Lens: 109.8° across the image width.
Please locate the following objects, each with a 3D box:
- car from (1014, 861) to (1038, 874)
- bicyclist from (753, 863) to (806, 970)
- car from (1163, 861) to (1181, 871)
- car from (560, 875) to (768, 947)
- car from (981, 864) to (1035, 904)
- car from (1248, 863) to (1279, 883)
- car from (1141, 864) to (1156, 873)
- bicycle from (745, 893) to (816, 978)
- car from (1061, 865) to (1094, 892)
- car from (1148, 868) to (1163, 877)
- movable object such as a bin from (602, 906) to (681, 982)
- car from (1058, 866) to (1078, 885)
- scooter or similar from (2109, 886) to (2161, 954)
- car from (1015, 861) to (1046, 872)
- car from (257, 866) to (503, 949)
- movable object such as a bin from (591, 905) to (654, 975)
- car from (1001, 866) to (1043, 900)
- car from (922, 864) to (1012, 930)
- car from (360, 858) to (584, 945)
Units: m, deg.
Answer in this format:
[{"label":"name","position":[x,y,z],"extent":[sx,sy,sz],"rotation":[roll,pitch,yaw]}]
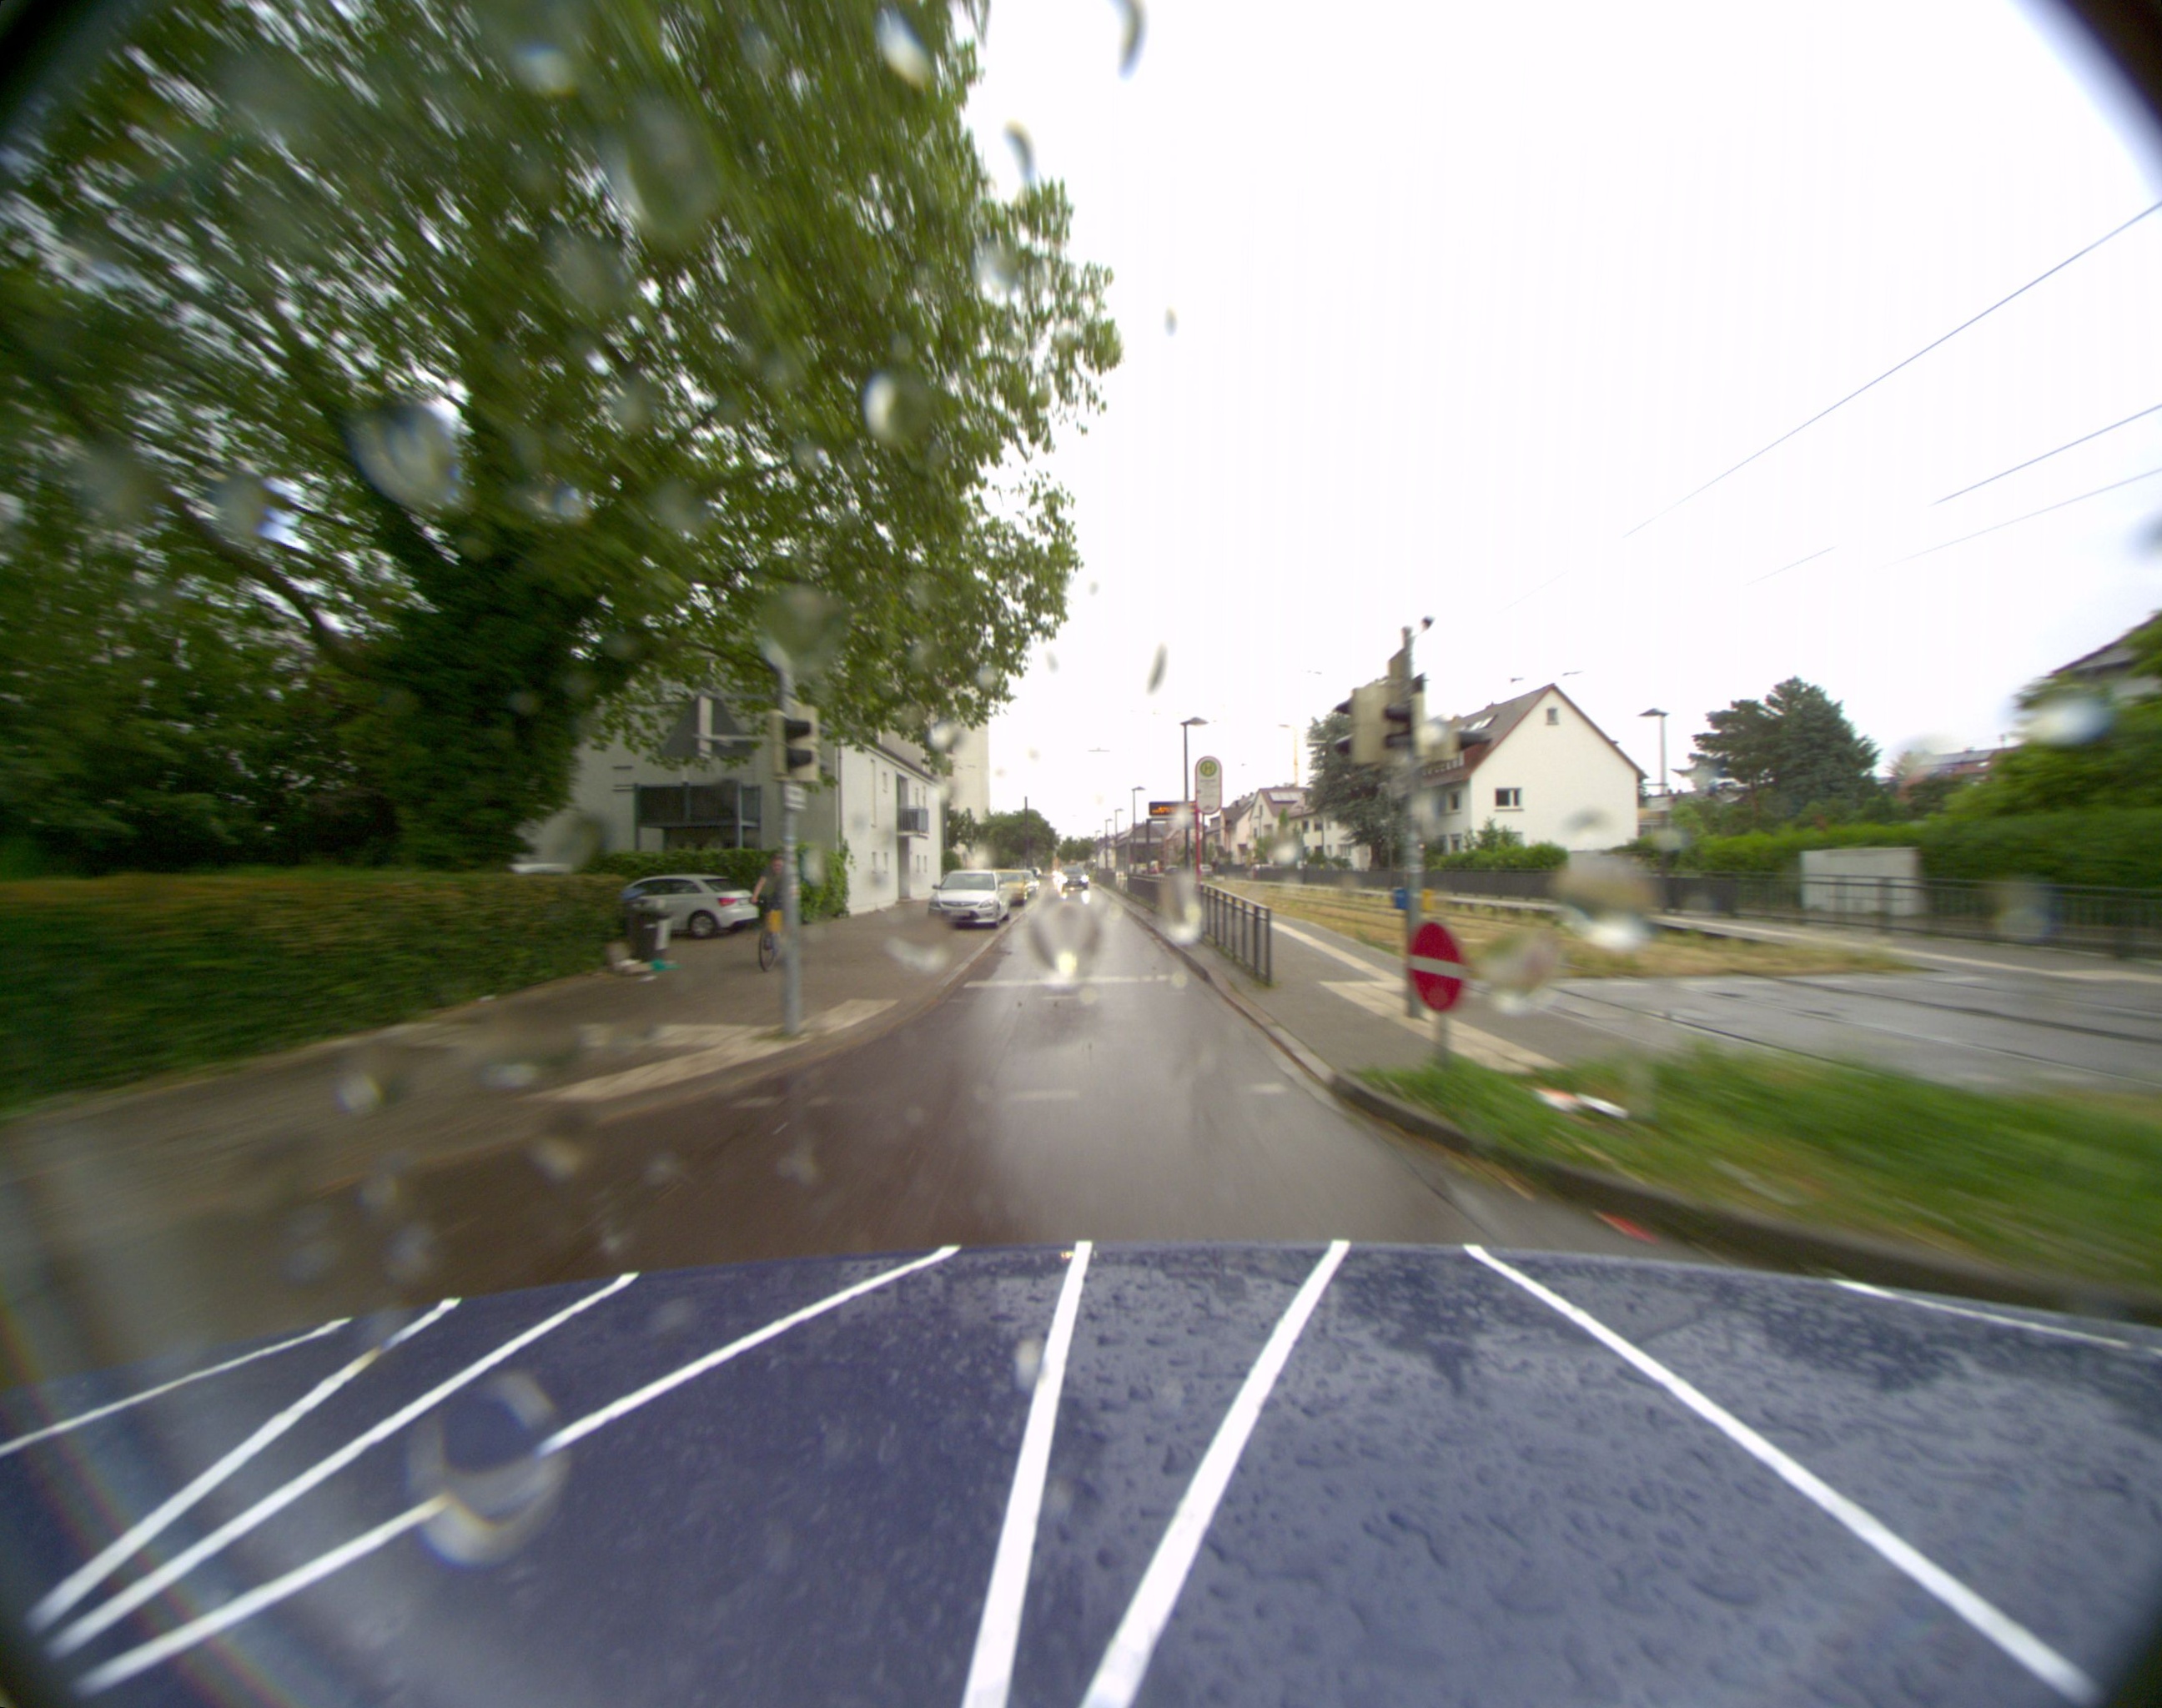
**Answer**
[{"label":"car","position":[-7.032,1.710,96.751],"extent":[2.570,1.539,1.598],"rotation":[-1,0,-42]},{"label":"bicyclist","position":[-4.631,0.933,11.697],"extent":[0.536,1.550,0.772],"rotation":[-2,1,-9]},{"label":"car","position":[13.560,1.841,113.078],"extent":[1.842,1.418,4.174],"rotation":[-2,-1,-4]},{"label":"car","position":[-9.362,1.261,17.261],"extent":[3.705,1.369,1.760],"rotation":[-2,1,2]},{"label":"car","position":[-2.934,1.184,31.277],"extent":[1.811,1.397,3.793],"rotation":[2,0,0]},{"label":"car","position":[15.285,1.603,63.888],"extent":[1.637,1.484,4.000],"rotation":[-2,0,0]},{"label":"car","position":[12.404,2.637,139.272],"extent":[1.999,1.401,4.174],"rotation":[-2,-2,-4]},{"label":"bicycle","position":[-4.632,1.211,11.823],"extent":[0.538,1.087,1.947],"rotation":[-2,0,-8]},{"label":"car","position":[-0.292,1.629,52.044],"extent":[1.999,1.611,3.998],"rotation":[-2,0,-3]},{"label":"car","position":[13.115,3.269,133.987],"extent":[1.999,1.365,3.842],"rotation":[-2,0,-4]},{"label":"movable object such as a bin","position":[-6.490,1.313,11.264],"extent":[0.694,1.016,0.824],"rotation":[1,0,-1]},{"label":"car","position":[-1.368,2.225,80.485],"extent":[1.999,1.761,3.999],"rotation":[-2,0,-2]},{"label":"scooter or similar","position":[18.262,1.112,12.314],"extent":[0.665,1.065,1.866],"rotation":[-2,0,1]},{"label":"car","position":[-7.034,1.763,106.337],"extent":[4.195,1.538,1.760],"rotation":[3,-2,-42]},{"label":"car","position":[-16.852,1.202,18.638],"extent":[1.998,1.645,4.248],"rotation":[-2,0,0]},{"label":"movable object such as a bin","position":[-7.168,1.331,11.905],"extent":[0.537,1.016,0.738],"rotation":[1,0,-1]},{"label":"car","position":[-2.828,1.346,37.043],"extent":[1.654,1.397,4.649],"rotation":[2,0,0]},{"label":"car","position":[-2.920,1.074,20.218],"extent":[1.811,1.459,3.793],"rotation":[2,0,0]},{"label":"car","position":[-14.697,1.049,18.728],"extent":[1.998,1.783,4.248],"rotation":[-2,0,0]}]
